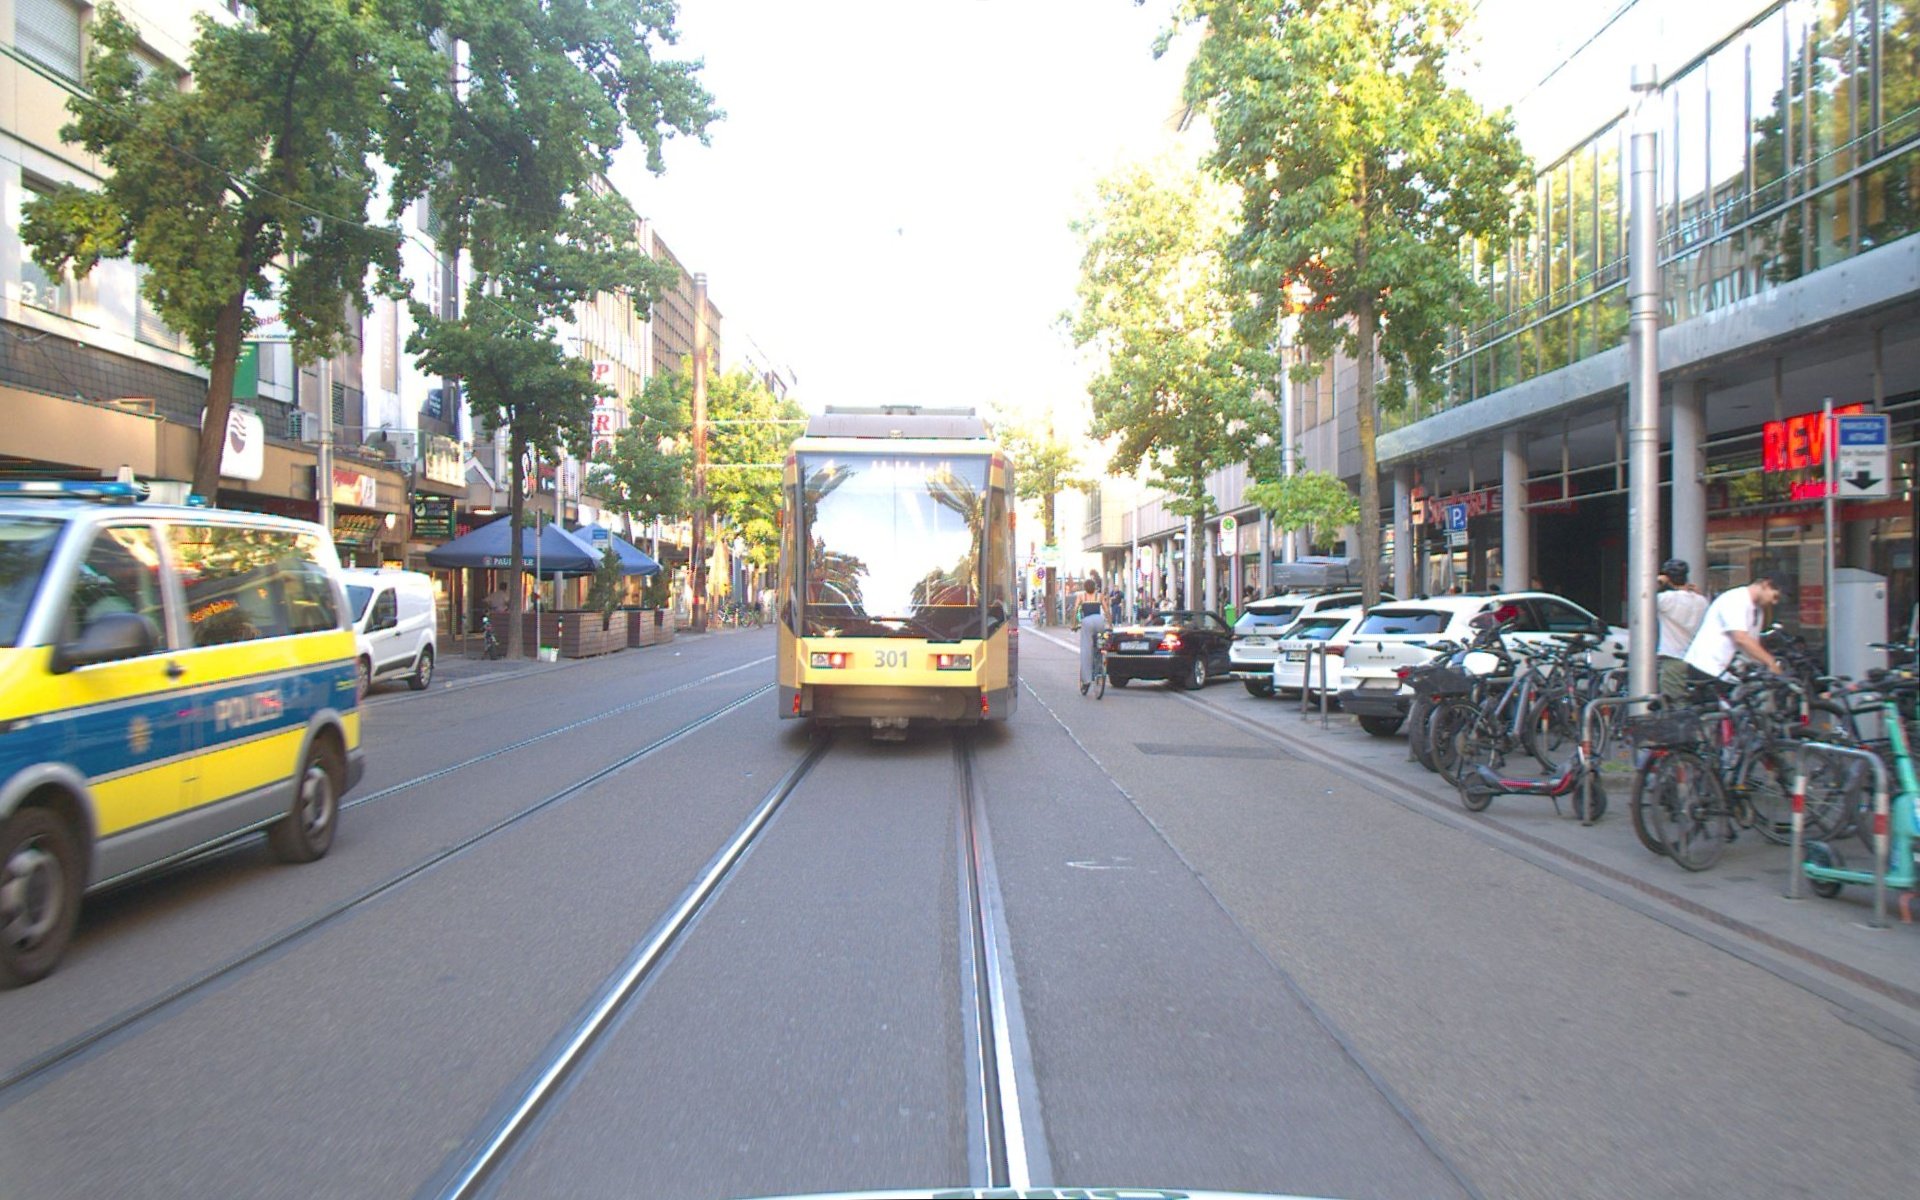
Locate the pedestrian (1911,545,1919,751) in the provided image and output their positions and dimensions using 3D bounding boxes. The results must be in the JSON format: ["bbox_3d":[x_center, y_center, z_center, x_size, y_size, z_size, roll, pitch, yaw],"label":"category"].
[{"bbox_3d":[9.051,0.414,14.870,0.776,1.844,0.658,-2,0,35],"label":"pedestrian"}]

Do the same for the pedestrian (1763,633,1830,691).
[{"bbox_3d":[11.619,0.857,22.989,0.594,0.796,0.664,0,-1,2],"label":"pedestrian"}]

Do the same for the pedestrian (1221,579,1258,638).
[{"bbox_3d":[9.283,0.280,54.912,1.032,1.909,0.929,-2,1,-1],"label":"pedestrian"}]

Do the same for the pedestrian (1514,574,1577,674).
[{"bbox_3d":[10.891,0.431,30.802,0.859,1.813,0.755,-2,1,-1],"label":"pedestrian"}]

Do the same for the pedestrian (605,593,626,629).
[{"bbox_3d":[-13.175,0.437,63.259,0.562,1.342,0.725,2,-1,0],"label":"pedestrian"}]

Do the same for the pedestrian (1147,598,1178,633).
[{"bbox_3d":[8.128,0.599,66.385,1.089,1.351,0.926,-2,0,0],"label":"pedestrian"}]

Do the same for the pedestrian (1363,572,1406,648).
[{"bbox_3d":[10.661,0.231,41.594,0.815,1.868,0.944,-1,1,-1],"label":"pedestrian"}]

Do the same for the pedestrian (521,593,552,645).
[{"bbox_3d":[-10.637,0.482,41.551,0.547,1.278,0.606,3,-1,0],"label":"pedestrian"}]

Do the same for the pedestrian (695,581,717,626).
[{"bbox_3d":[-11.779,0.175,76.727,0.831,2.049,0.921,1,-1,-1],"label":"pedestrian"}]

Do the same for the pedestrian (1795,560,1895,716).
[{"bbox_3d":[10.083,0.417,18.859,0.666,1.728,0.805,1,1,-1],"label":"pedestrian"}]

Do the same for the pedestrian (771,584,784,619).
[{"bbox_3d":[-9.091,0.088,82.263,0.540,1.716,0.575,2,-1,-5],"label":"pedestrian"}]

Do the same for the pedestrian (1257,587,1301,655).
[{"bbox_3d":[7.798,0.504,40.462,0.859,1.609,0.755,1,1,-1],"label":"pedestrian"}]

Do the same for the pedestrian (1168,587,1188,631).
[{"bbox_3d":[8.567,0.351,65.005,0.687,1.666,0.645,-2,1,-1],"label":"pedestrian"}]

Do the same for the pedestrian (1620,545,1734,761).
[{"bbox_3d":[6.428,0.453,14.820,0.811,1.844,0.592,-4,2,-39],"label":"pedestrian"}]

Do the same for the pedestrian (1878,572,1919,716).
[{"bbox_3d":[10.738,0.485,18.415,0.666,1.575,0.664,1,-1,-1],"label":"pedestrian"}]

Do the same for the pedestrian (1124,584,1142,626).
[{"bbox_3d":[7.493,0.222,71.708,0.733,1.813,0.891,1,-1,2],"label":"pedestrian"}]

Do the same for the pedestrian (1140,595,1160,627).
[{"bbox_3d":[8.261,0.463,71.986,0.724,1.351,0.720,-2,1,0],"label":"pedestrian"}]

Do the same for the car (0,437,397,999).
[{"bbox_3d":[-4.438,0.416,7.803,1.953,2.011,4.849,0,0,-1],"label":"car"}]

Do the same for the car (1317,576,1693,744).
[{"bbox_3d":[6.362,0.628,19.164,4.292,1.590,1.855,-3,0,-34],"label":"car"}]

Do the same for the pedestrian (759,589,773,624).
[{"bbox_3d":[-9.733,0.336,82.969,0.563,1.716,0.551,3,-1,-11],"label":"pedestrian"}]

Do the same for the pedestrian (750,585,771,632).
[{"bbox_3d":[-8.299,0.348,68.827,0.736,1.913,0.575,2,-1,-5],"label":"pedestrian"}]

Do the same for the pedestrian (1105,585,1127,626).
[{"bbox_3d":[7.055,0.248,74.906,0.870,1.813,0.751,1,-1,-3],"label":"pedestrian"}]

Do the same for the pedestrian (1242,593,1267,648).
[{"bbox_3d":[8.910,0.616,50.053,0.584,1.644,0.755,-2,1,-1],"label":"pedestrian"}]

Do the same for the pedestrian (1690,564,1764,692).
[{"bbox_3d":[10.636,0.388,22.950,0.649,1.729,0.805,1,-1,-1],"label":"pedestrian"}]

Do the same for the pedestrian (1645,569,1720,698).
[{"bbox_3d":[9.878,0.452,22.640,0.666,1.729,0.805,1,-1,-1],"label":"pedestrian"}]

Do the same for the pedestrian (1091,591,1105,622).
[{"bbox_3d":[7.828,0.374,93.577,0.687,1.714,0.680,-2,1,-1],"label":"pedestrian"}]

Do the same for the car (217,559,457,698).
[{"bbox_3d":[-9.216,0.419,24.896,1.757,1.850,4.516,2,-1,1],"label":"car"}]

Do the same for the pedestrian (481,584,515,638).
[{"bbox_3d":[-11.265,0.260,40.311,0.591,1.278,0.560,3,-1,1],"label":"pedestrian"}]

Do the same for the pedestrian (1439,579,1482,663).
[{"bbox_3d":[9.957,0.408,32.924,0.584,1.644,0.755,-2,1,-1],"label":"pedestrian"}]

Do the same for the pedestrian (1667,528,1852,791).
[{"bbox_3d":[6.286,0.441,13.040,0.933,1.947,0.860,-3,1,-12],"label":"pedestrian"}]

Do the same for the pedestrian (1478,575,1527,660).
[{"bbox_3d":[10.751,0.335,32.791,0.584,1.644,1.021,-2,1,-1],"label":"pedestrian"}]

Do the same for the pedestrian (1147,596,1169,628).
[{"bbox_3d":[8.396,0.508,70.158,0.789,1.351,0.626,-2,1,0],"label":"pedestrian"}]

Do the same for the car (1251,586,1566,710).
[{"bbox_3d":[6.471,0.647,23.851,4.117,1.483,1.850,-3,0,-24],"label":"car"}]
